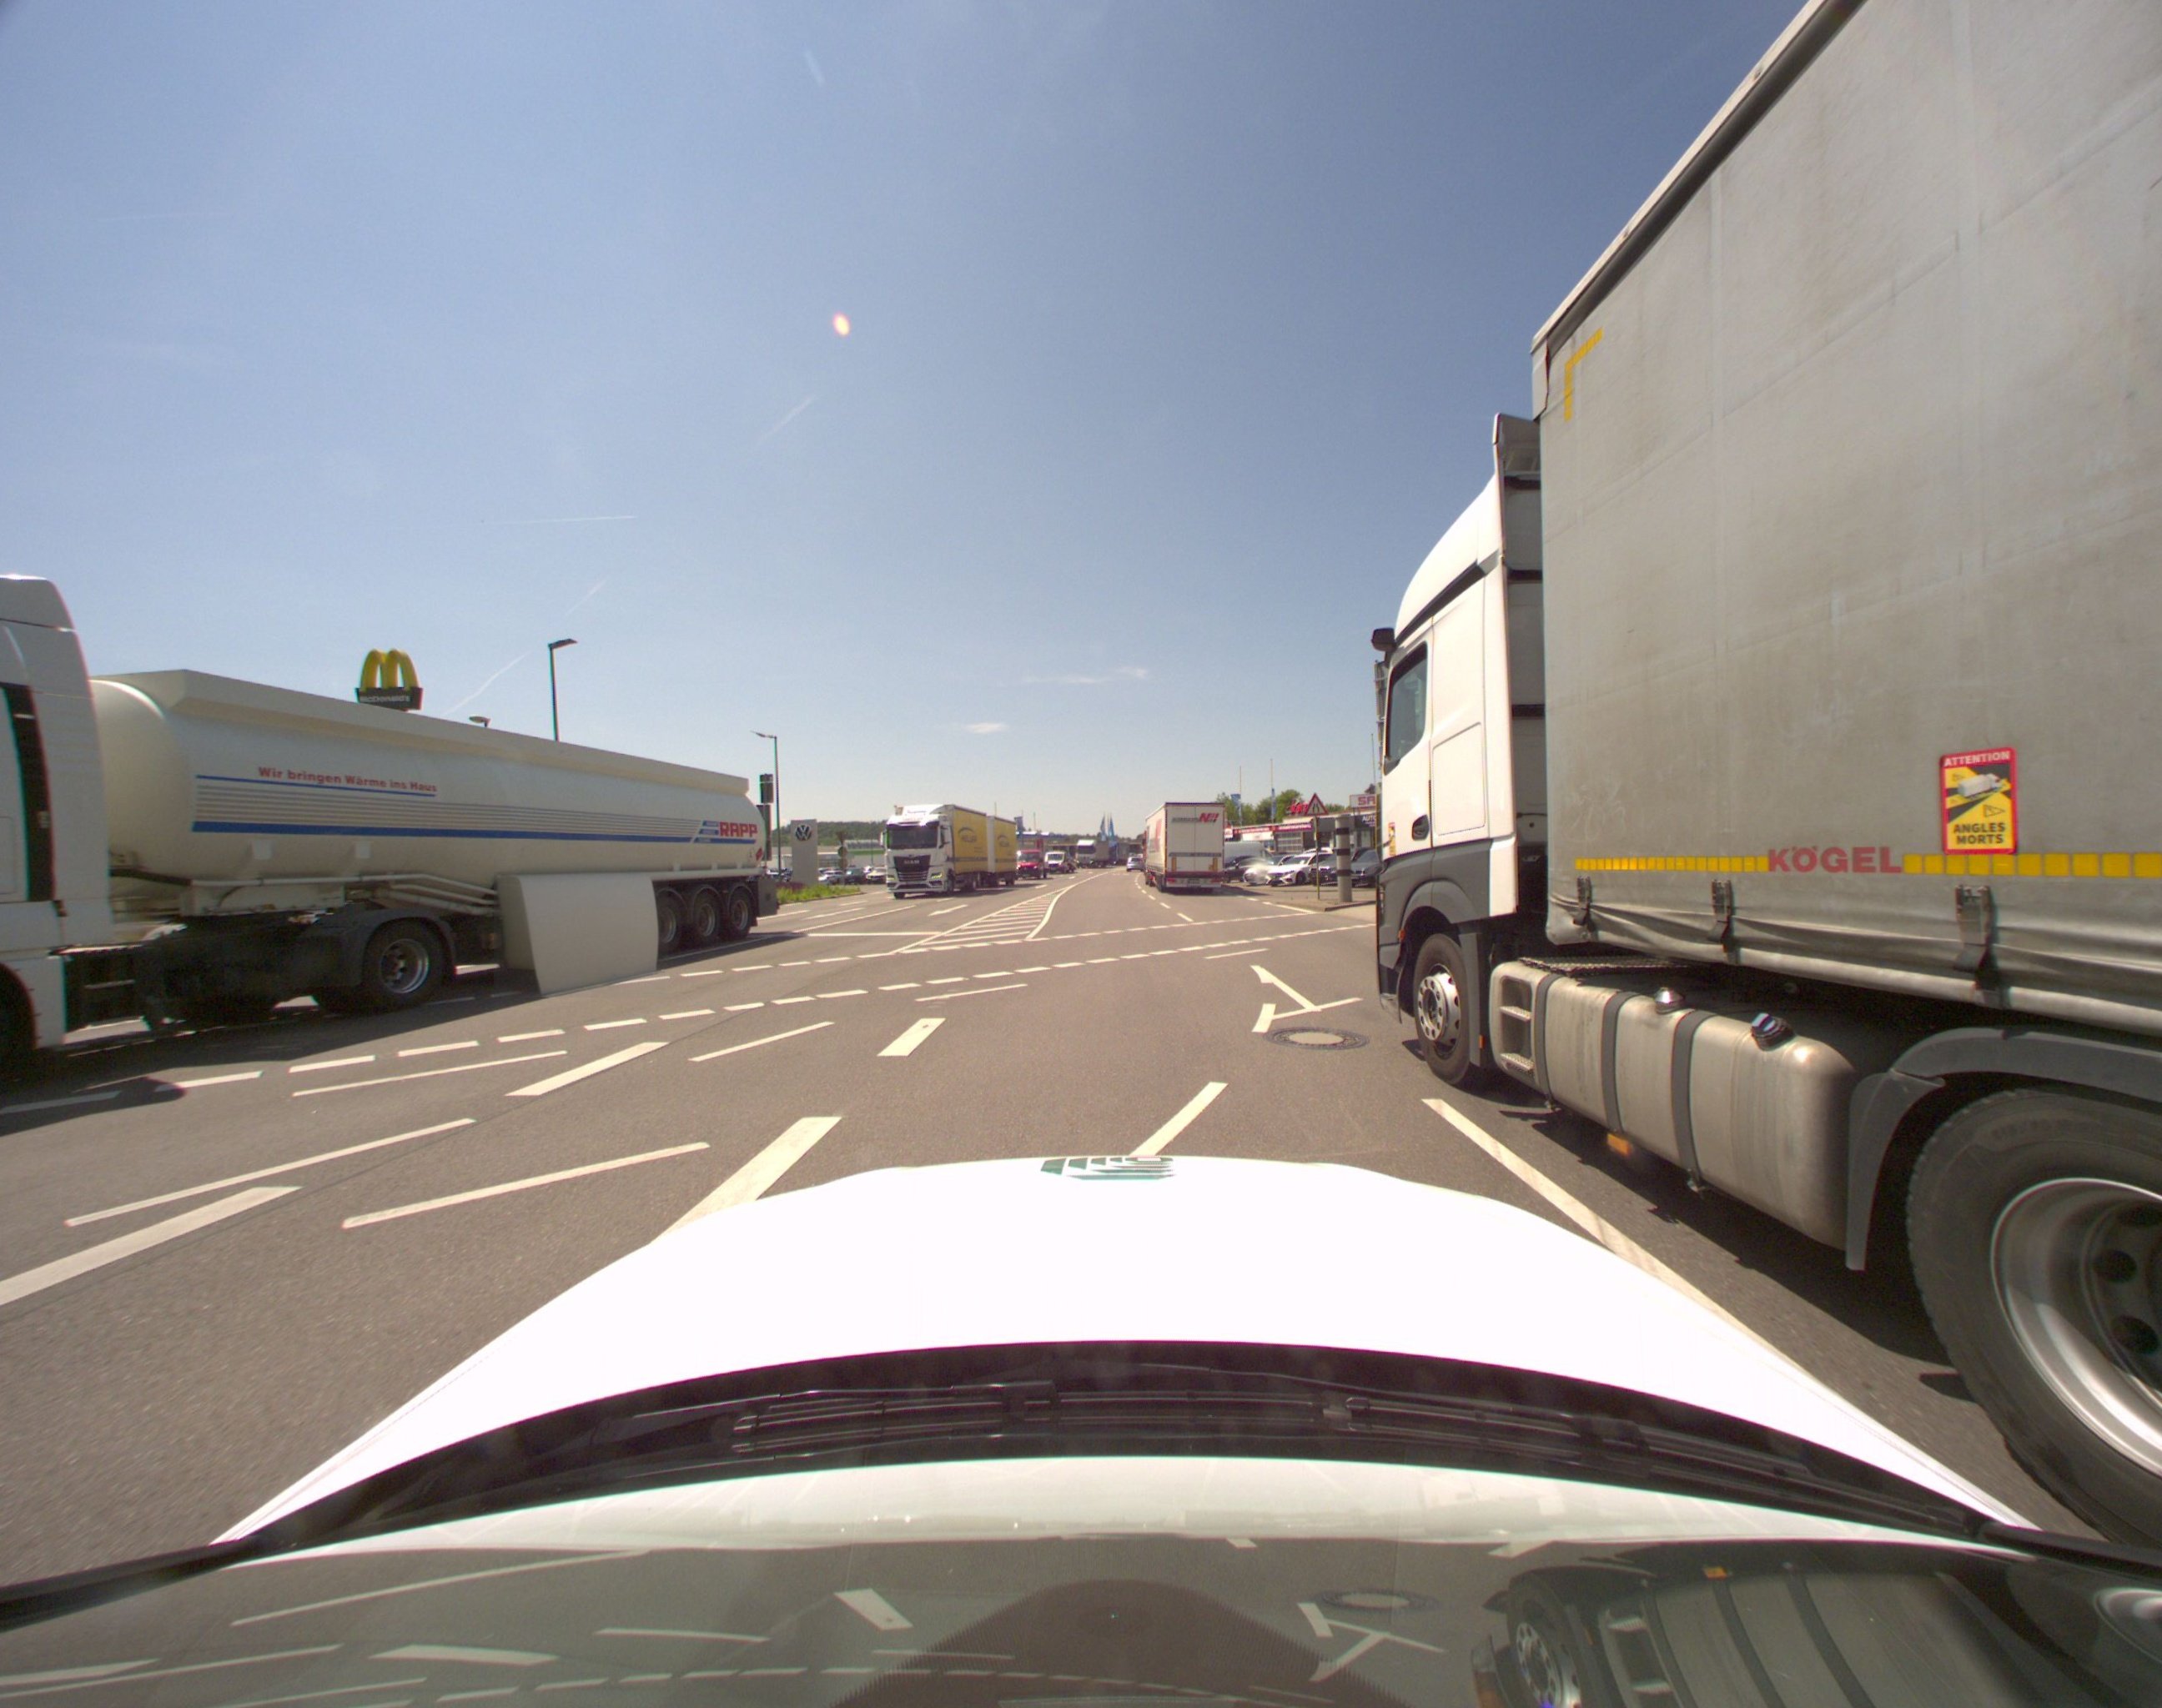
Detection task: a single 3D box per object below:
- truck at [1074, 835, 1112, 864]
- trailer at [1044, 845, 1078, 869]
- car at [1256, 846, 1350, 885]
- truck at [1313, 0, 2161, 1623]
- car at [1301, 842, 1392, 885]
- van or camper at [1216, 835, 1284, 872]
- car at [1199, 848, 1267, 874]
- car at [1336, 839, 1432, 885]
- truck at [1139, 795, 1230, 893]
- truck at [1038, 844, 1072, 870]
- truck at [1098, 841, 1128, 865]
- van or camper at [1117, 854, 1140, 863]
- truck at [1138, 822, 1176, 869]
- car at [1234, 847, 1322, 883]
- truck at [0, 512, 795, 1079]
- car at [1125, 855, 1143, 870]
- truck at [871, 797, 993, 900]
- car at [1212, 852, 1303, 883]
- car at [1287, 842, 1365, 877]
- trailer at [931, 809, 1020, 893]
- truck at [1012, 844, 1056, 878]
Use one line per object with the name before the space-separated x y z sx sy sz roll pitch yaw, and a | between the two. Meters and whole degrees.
truck | 1.940 -0.521 119.939 2.773 3.889 16.528 -1 -1 10
trailer | -2.010 0.317 85.494 2.415 2.338 6.909 -4 -1 7
car | 11.203 0.549 40.953 4.762 1.552 1.978 -5 1 -37
truck | 3.537 -0.593 3.951 2.962 4.010 6.329 -4 0 2
car | 12.697 0.432 38.872 4.192 1.691 1.864 -5 1 -34
van or camper | 14.135 -0.010 68.540 5.342 2.905 2.236 -2 0 5
car | 10.741 0.481 57.577 4.345 1.624 2.045 -3 0 -24
car | 13.672 0.359 36.651 4.202 1.691 1.864 -5 1 -34
truck | 4.973 -0.404 43.048 2.962 4.093 17.639 -1 0 1
truck | -2.543 0.323 81.106 2.412 2.340 5.686 -4 0 7
truck | 5.761 -0.165 141.489 2.826 3.889 17.053 -1 -1 10
van or camper | 10.954 1.092 187.600 4.814 1.905 1.911 -1 -1 12
truck | 6.748 -0.671 73.964 2.638 3.806 13.364 -1 0 2
car | 10.525 0.585 43.431 4.490 1.409 1.730 -7 1 -29
truck | -8.522 -0.362 11.275 2.593 4.018 15.147 -3 0 4
car | 6.050 0.970 92.672 1.915 1.610 4.098 -2 -1 3
truck | -6.654 -0.211 38.529 3.015 4.105 10.366 -2 0 4
car | 10.126 0.785 46.948 1.938 1.387 4.875 -3 -2 -41
car | 14.823 0.358 49.403 1.864 1.714 4.098 -3 -2 -41
trailer | -5.933 -0.166 47.882 2.997 4.287 10.071 -2 0 5
truck | -3.596 0.547 64.222 2.384 2.445 6.883 -1 -1 6
